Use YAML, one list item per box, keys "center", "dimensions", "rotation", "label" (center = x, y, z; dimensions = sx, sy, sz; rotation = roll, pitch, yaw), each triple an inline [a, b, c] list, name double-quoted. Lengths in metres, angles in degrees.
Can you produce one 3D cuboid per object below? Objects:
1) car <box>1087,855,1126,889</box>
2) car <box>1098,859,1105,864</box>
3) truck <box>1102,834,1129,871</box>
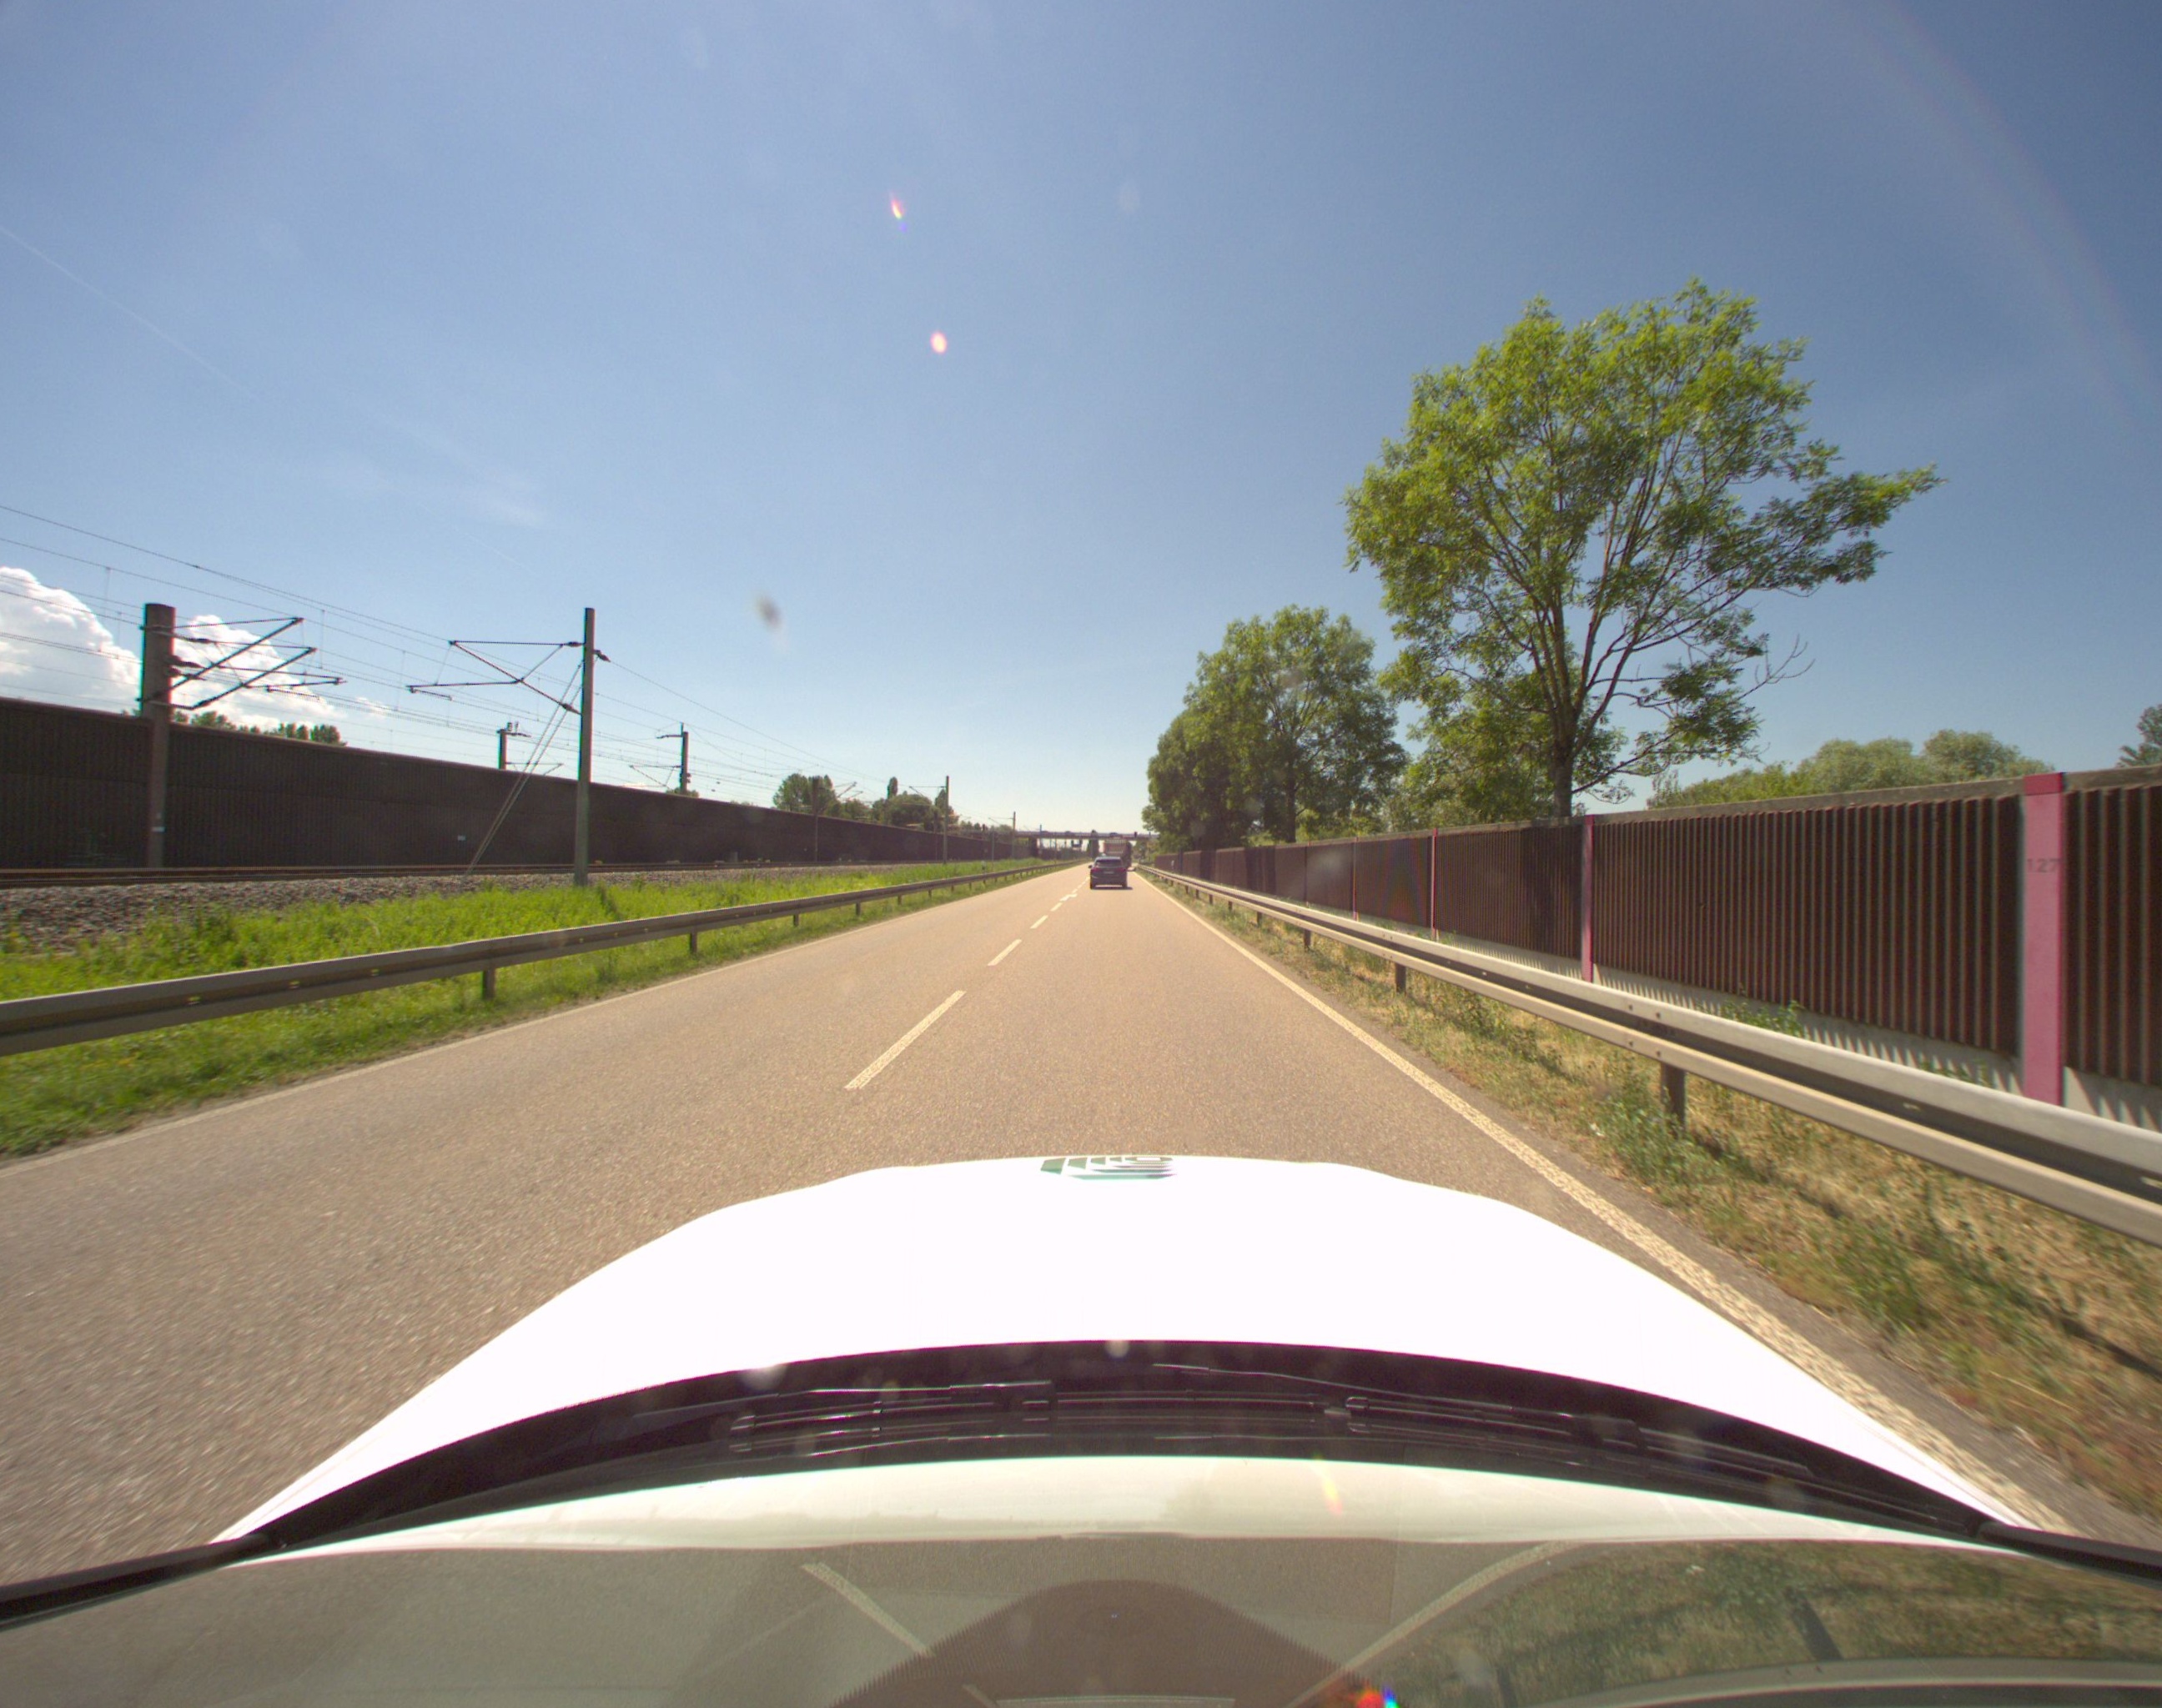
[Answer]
- center: [1.256, 0.853, 40.359]
  dimensions: [1.838, 1.623, 4.227]
  rotation: [0, 0, 1]
  label: "car"
- center: [6.482, 2.265, 254.823]
  dimensions: [1.859, 1.485, 4.884]
  rotation: [0, 0, -2]
  label: "car"
- center: [3.895, -0.125, 90.904]
  dimensions: [2.822, 3.821, 11.893]
  rotation: [0, 0, 3]
  label: "truck"
